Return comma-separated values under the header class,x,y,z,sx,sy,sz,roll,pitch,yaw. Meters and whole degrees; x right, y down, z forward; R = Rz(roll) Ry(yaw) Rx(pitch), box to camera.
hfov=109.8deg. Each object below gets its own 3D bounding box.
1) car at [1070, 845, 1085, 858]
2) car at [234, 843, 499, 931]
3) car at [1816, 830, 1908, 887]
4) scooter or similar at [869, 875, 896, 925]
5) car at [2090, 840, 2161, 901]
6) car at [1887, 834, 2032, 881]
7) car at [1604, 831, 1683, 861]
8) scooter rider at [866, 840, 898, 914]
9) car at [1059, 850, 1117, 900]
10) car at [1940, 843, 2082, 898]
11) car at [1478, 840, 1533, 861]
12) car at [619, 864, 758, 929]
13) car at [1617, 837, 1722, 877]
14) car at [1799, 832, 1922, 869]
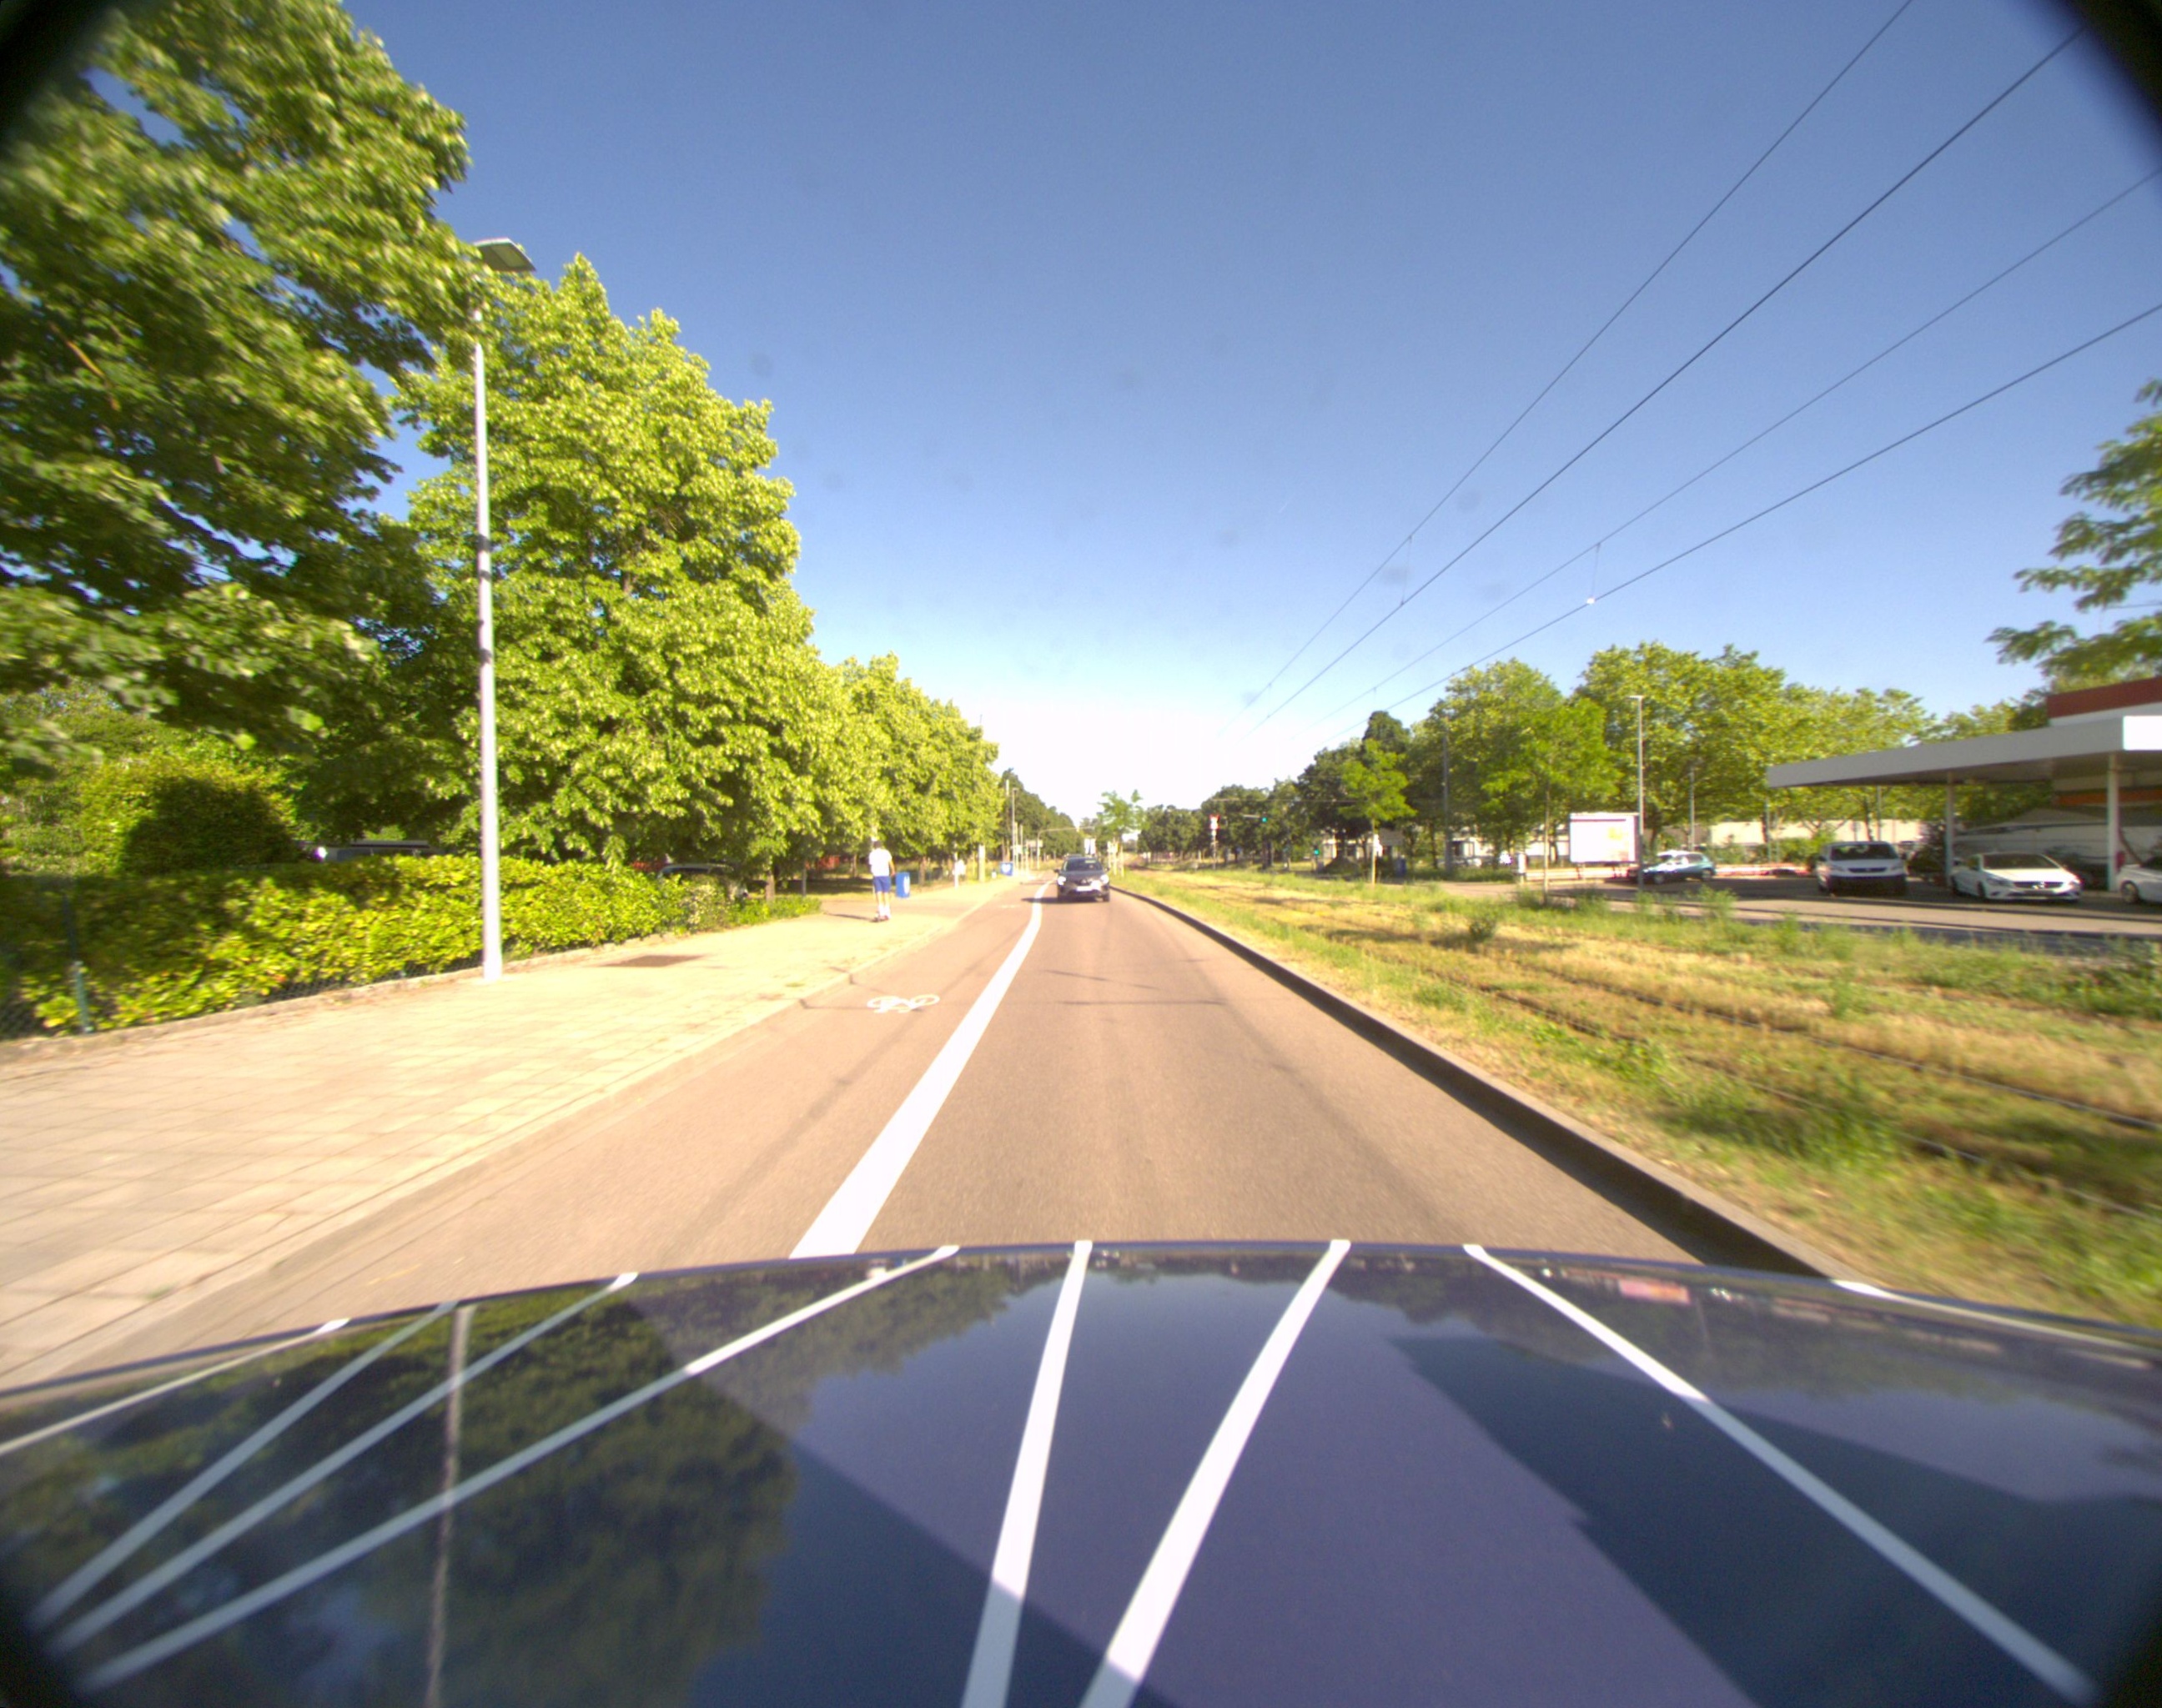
class,x,y,z,sx,sy,sz,roll,pitch,yaw
car,-0.452,-0.386,108.868,1.998,1.824,4.000,-2,1,2
car,-17.611,0.710,19.188,1.877,1.927,4.959,0,0,2
car,28.384,0.139,27.766,1.893,1.899,4.821,-1,0,41
scooter or similar,-4.781,1.086,18.332,0.349,1.130,1.208,0,1,-1
car,28.991,0.451,19.399,2.022,1.499,4.897,0,2,28
car,38.956,0.150,33.743,4.610,1.976,1.890,-1,1,-6
car,39.467,-0.561,53.377,4.051,1.851,1.999,-3,1,-2
scooter rider,-4.779,0.545,18.289,0.552,1.756,0.599,-2,1,-1
car,0.219,0.682,27.275,1.867,1.614,3.999,-2,0,-1
car,28.351,0.453,23.339,1.712,1.416,4.465,-2,1,37
car,39.875,-0.327,71.445,4.051,1.816,1.999,-3,1,-2
car,-9.639,0.976,19.036,1.466,1.353,4.052,0,0,-2
car,31.483,0.162,40.736,3.996,1.846,2.000,-3,0,3
car,40.540,-0.181,39.710,1.998,1.809,4.529,0,0,5
